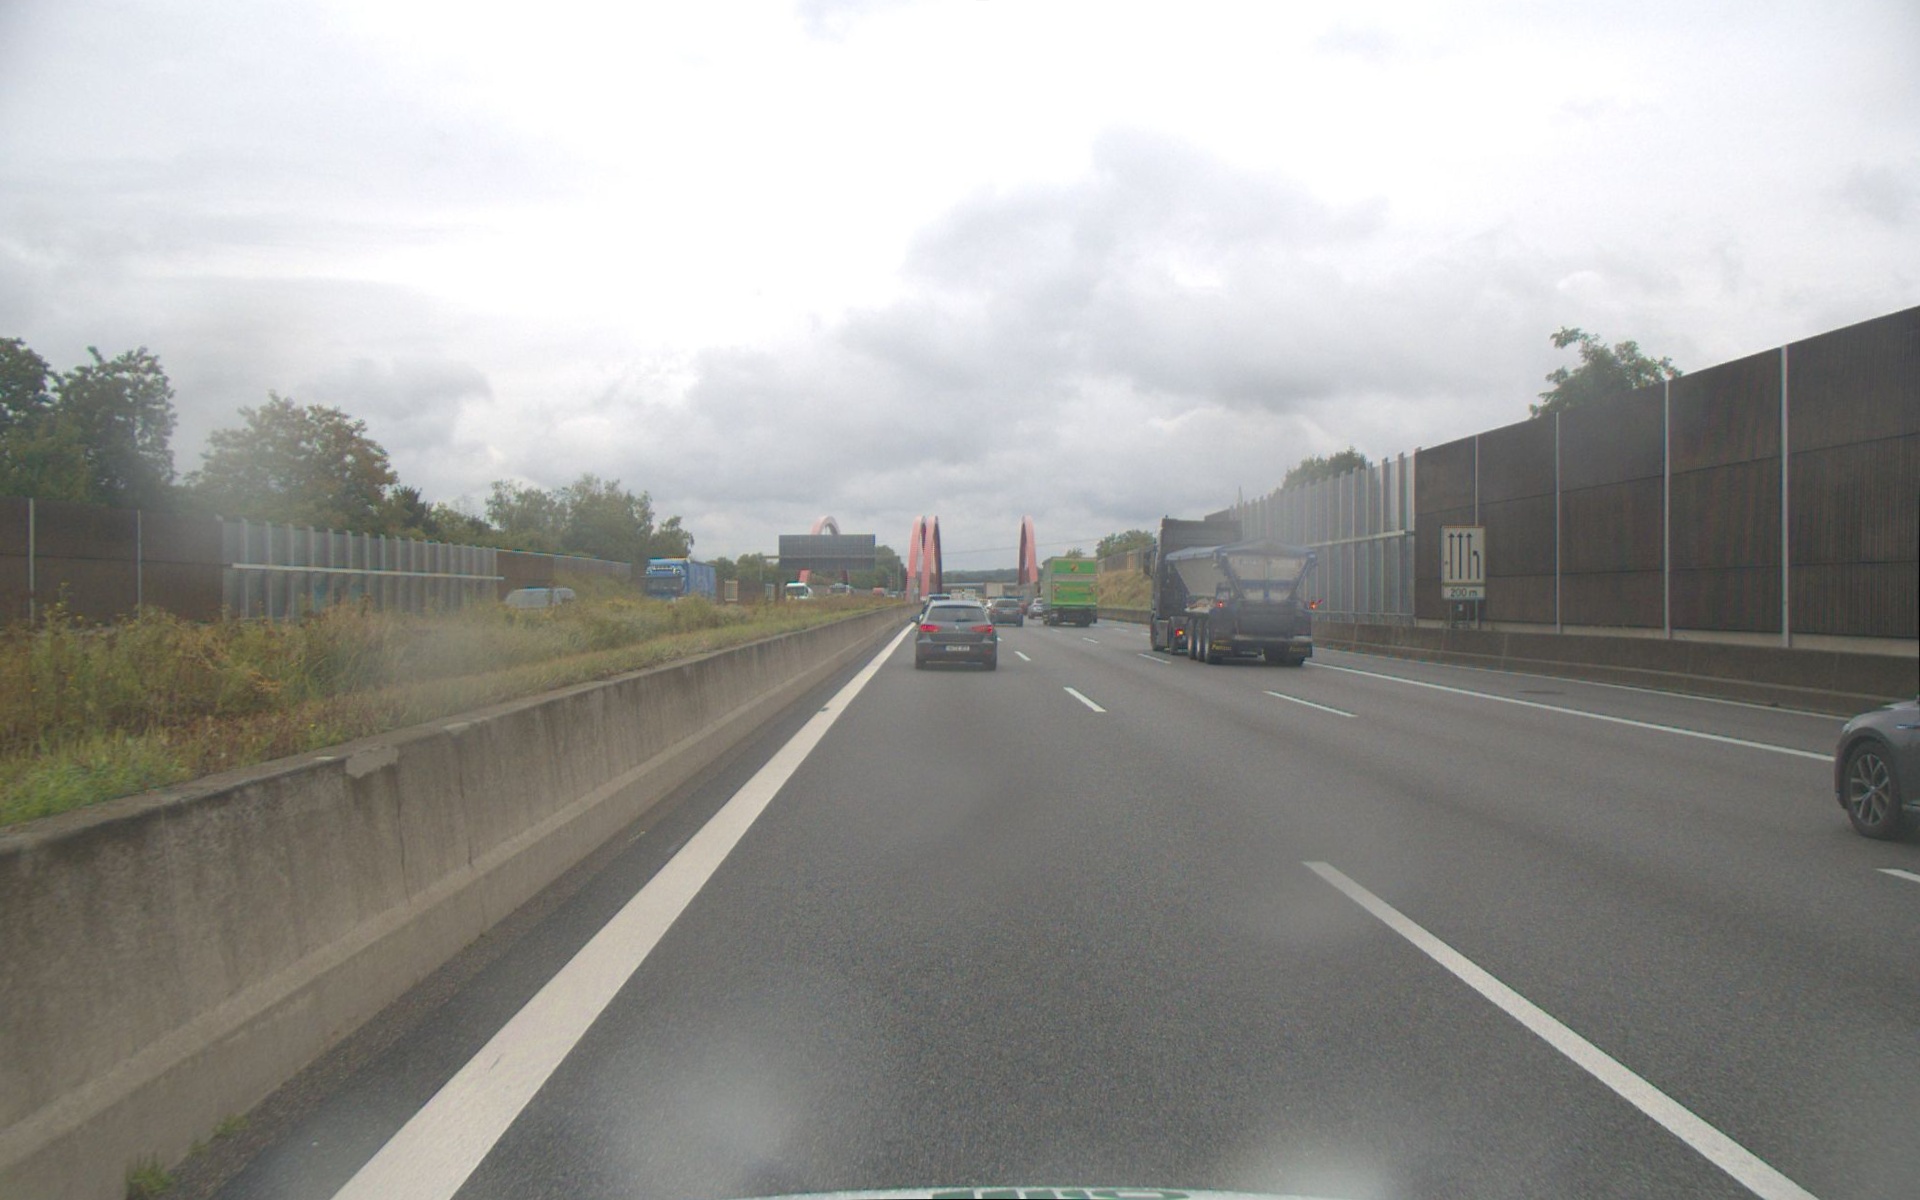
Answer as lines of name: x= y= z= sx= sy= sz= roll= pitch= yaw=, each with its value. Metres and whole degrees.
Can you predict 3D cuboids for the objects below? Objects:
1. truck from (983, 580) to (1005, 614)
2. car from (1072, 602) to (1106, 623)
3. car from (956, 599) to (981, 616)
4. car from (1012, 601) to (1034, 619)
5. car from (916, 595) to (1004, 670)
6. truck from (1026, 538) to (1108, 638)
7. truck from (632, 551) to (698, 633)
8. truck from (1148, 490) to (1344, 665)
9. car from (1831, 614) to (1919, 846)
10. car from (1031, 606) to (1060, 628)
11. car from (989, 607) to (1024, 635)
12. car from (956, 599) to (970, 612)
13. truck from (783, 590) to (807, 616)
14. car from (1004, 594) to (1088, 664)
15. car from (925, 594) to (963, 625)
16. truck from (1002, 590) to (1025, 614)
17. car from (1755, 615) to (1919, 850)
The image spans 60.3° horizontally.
truck: x=5.046 y=-0.435 z=244.023 sx=2.982 sy=4.817 sz=7.679 roll=2 pitch=0 yaw=0
car: x=8.816 y=0.814 z=113.192 sx=1.953 sy=1.378 sz=3.999 roll=0 pitch=0 yaw=-1
car: x=0.691 y=0.637 z=136.226 sx=1.953 sy=1.378 sz=3.999 roll=0 pitch=0 yaw=-1
car: x=6.212 y=0.977 z=163.050 sx=1.917 sy=1.676 sz=3.999 roll=2 pitch=0 yaw=0
car: x=0.008 y=0.649 z=35.119 sx=1.727 sy=1.478 sz=4.000 roll=1 pitch=0 yaw=0
truck: x=6.098 y=-0.647 z=96.303 sx=3.916 sy=5.358 sz=11.219 roll=2 pitch=0 yaw=0
truck: x=-18.336 y=-0.474 z=103.159 sx=3.124 sy=4.943 sz=5.416 roll=2 pitch=0 yaw=-2
truck: x=7.364 y=-0.504 z=44.792 sx=3.026 sy=4.019 sz=12.944 roll=0 pitch=0 yaw=0
car: x=7.020 y=0.859 z=9.434 sx=1.629 sy=1.482 sz=4.469 roll=2 pitch=0 yaw=-2
car: x=6.739 y=1.358 z=130.522 sx=1.953 sy=1.647 sz=5.327 roll=2 pitch=0 yaw=-1
car: x=2.476 y=1.097 z=88.680 sx=1.745 sy=1.431 sz=3.625 roll=1 pitch=0 yaw=-1
car: x=0.434 y=0.797 z=234.198 sx=1.953 sy=1.847 sz=4.000 roll=1 pitch=0 yaw=0
truck: x=-20.134 y=0.365 z=201.558 sx=2.569 sy=3.072 sz=5.609 roll=2 pitch=0 yaw=-3
car: x=2.261 y=0.742 z=44.310 sx=1.953 sy=1.780 sz=3.999 roll=0 pitch=0 yaw=-1
car: x=-0.869 y=0.495 z=88.716 sx=1.953 sy=1.612 sz=3.999 roll=0 pitch=0 yaw=-1
truck: x=5.752 y=0.237 z=179.439 sx=2.313 sy=2.550 sz=6.144 roll=1 pitch=0 yaw=0
car: x=7.030 y=0.883 z=9.827 sx=1.901 sy=1.452 sz=5.287 roll=2 pitch=0 yaw=-2
